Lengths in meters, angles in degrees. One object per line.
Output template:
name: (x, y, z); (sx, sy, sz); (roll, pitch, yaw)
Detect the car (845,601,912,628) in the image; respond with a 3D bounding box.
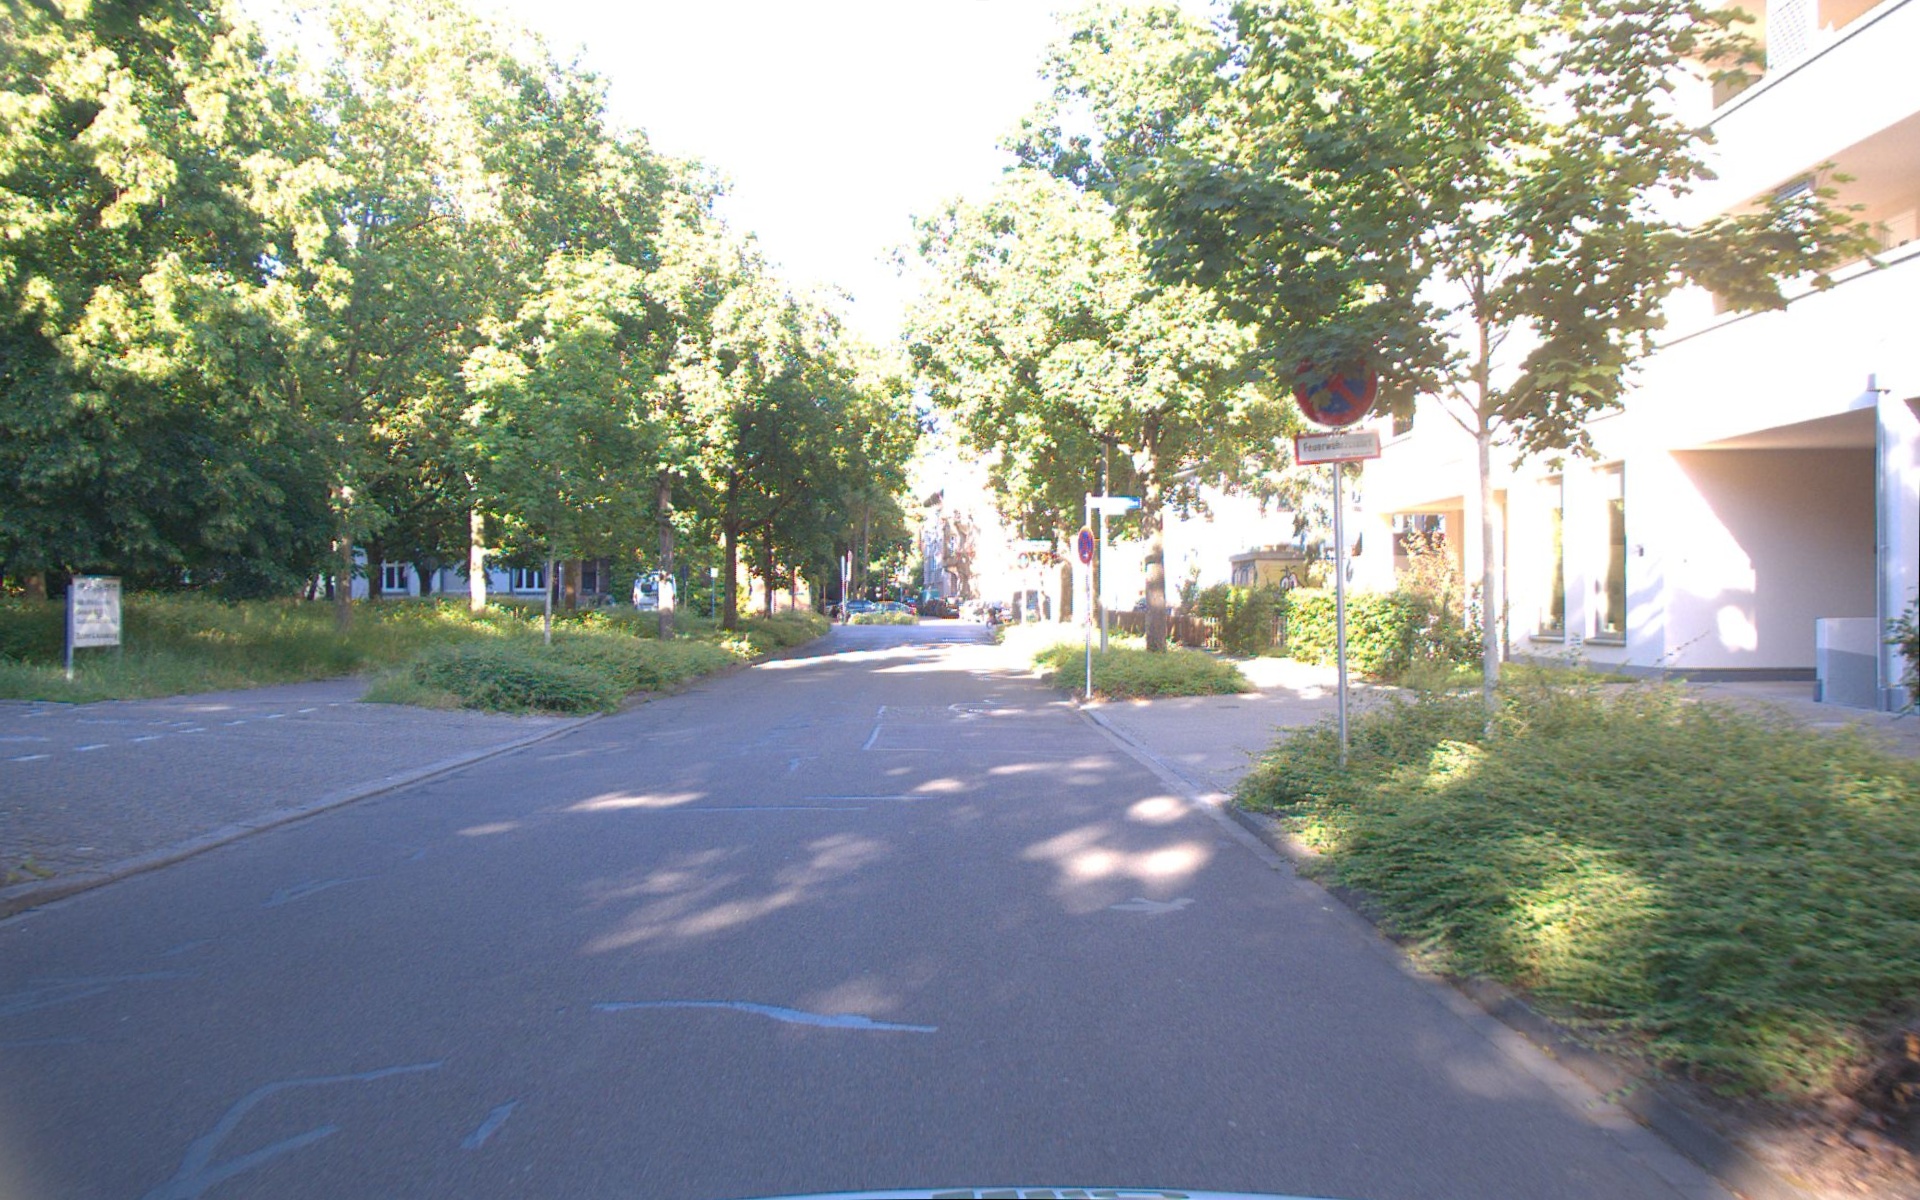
car: (-5.010, 0.885, 101.707); (3.913, 1.527, 1.814); (1, 0, -9)

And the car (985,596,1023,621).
car: (2.746, 0.548, 103.971); (1.777, 1.527, 3.993); (0, 0, -8)

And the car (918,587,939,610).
car: (-3.041, -0.159, 157.396); (1.775, 2.086, 3.997); (1, 0, -4)

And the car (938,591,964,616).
car: (-0.724, 0.277, 132.564); (1.775, 1.959, 3.997); (1, 0, -4)

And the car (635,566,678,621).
car: (-14.695, -0.317, 80.225); (1.957, 2.552, 3.991); (1, 0, -9)

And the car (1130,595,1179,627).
car: (9.896, 0.553, 84.397); (1.953, 1.613, 3.639); (1, 0, -1)

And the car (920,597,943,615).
car: (-2.541, 0.490, 147.321); (1.775, 1.527, 3.997); (1, 0, -4)

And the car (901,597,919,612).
car: (-5.295, 0.500, 174.345); (1.775, 1.527, 3.997); (1, 0, -4)

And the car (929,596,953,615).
car: (-1.629, 0.486, 140.688); (1.775, 1.527, 3.997); (1, 0, -4)

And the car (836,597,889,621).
car: (-6.758, 0.614, 114.016); (3.521, 1.537, 1.497); (1, 0, -9)
